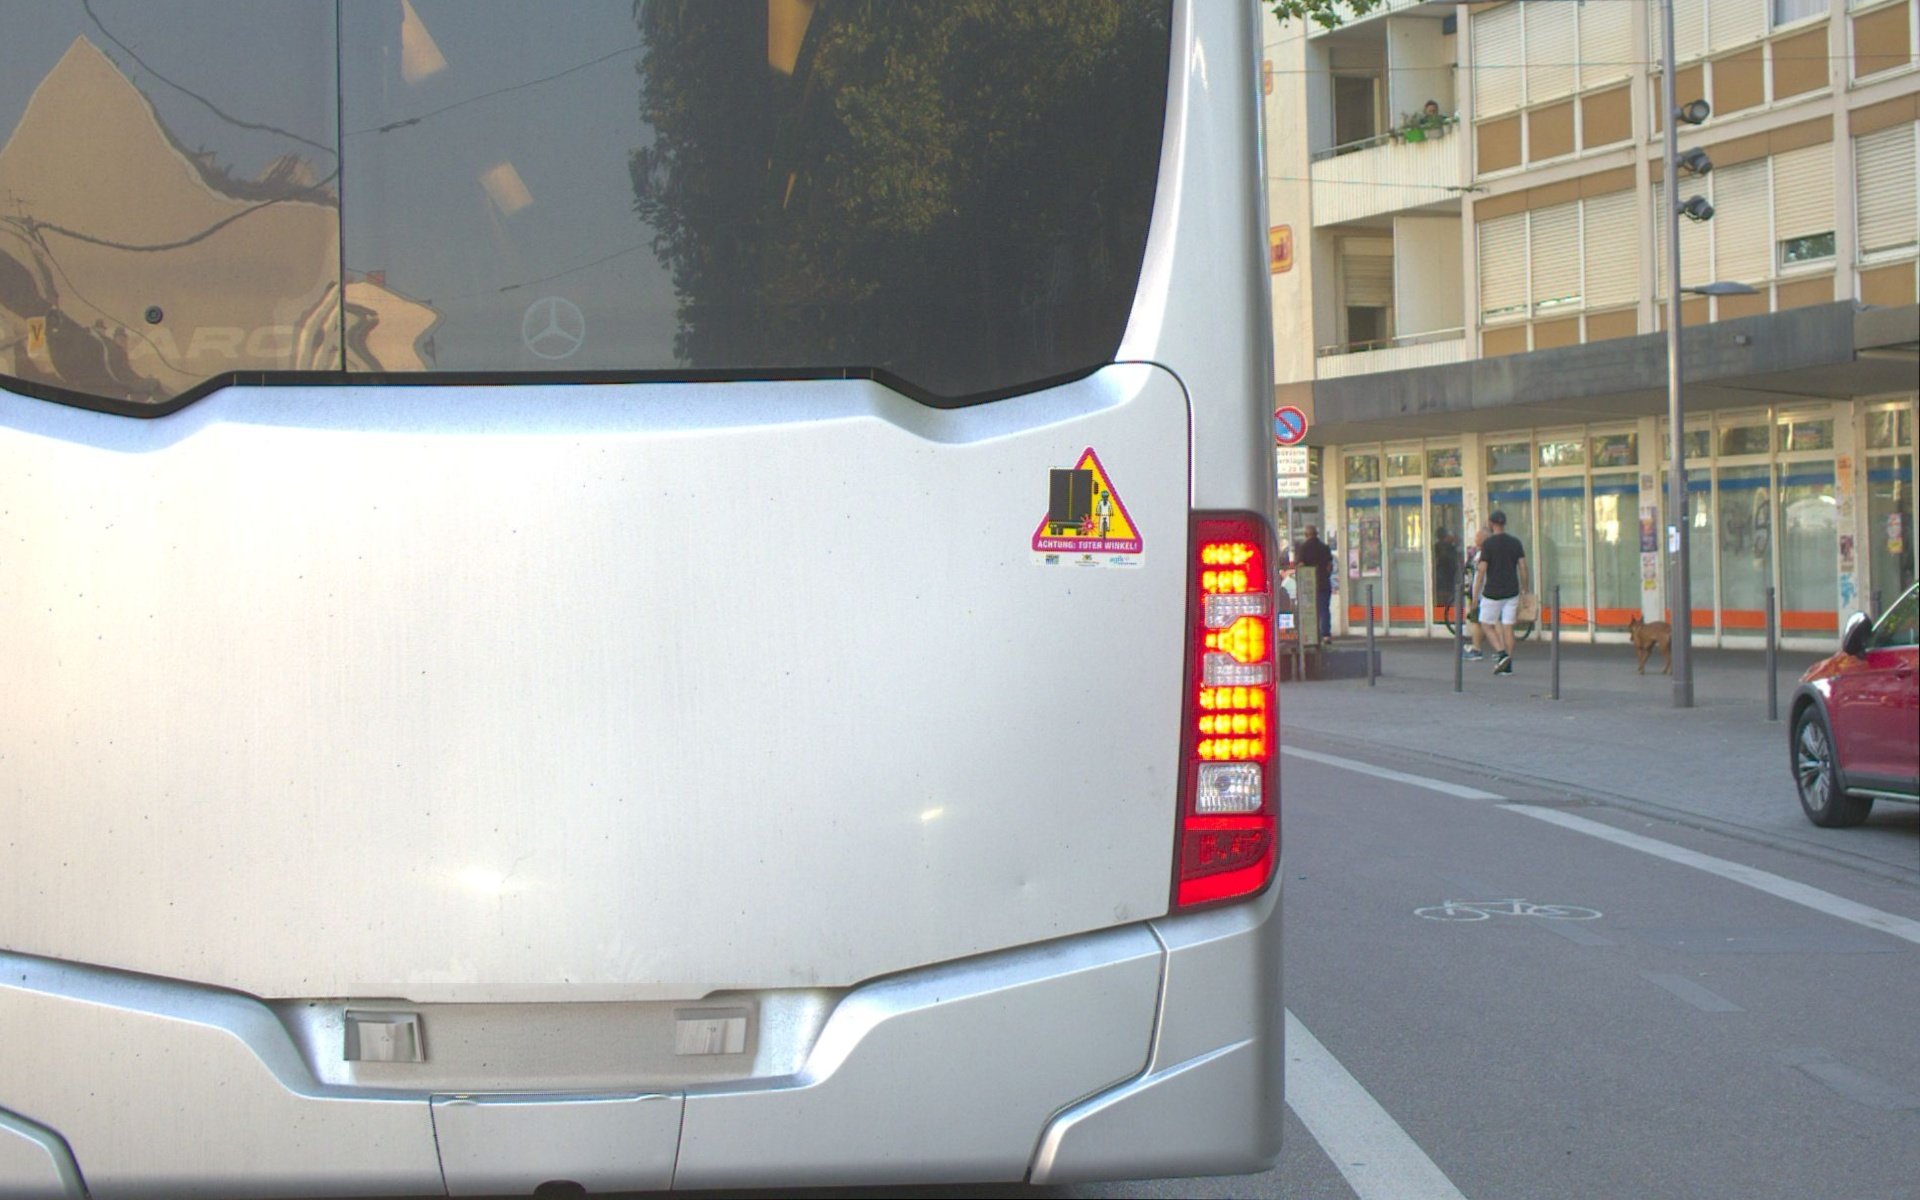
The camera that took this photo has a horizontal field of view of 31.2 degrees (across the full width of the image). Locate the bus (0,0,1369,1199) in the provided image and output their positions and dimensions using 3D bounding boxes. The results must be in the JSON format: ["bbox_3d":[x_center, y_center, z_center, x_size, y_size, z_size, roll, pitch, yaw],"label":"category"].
[{"bbox_3d":[-0.726,-0.162,10.576,2.630,3.017,9.998,0,1,-1],"label":"bus"}]

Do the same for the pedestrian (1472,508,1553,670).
[{"bbox_3d":[5.906,-0.119,36.734,0.645,1.711,0.560,-1,1,-16],"label":"pedestrian"}]

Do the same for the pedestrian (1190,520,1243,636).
[{"bbox_3d":[3.679,-0.321,49.374,0.535,1.643,0.616,-1,1,-17],"label":"pedestrian"}]

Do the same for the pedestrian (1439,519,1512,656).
[{"bbox_3d":[6.057,-0.149,40.398,0.645,1.576,0.560,-1,1,-16],"label":"pedestrian"}]

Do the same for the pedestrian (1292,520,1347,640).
[{"bbox_3d":[5.006,-0.278,47.867,0.535,1.643,0.616,-1,1,-17],"label":"pedestrian"}]

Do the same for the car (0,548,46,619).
[{"bbox_3d":[-25.263,-0.443,88.098,1.994,1.785,3.998,0,0,-41],"label":"car"}]

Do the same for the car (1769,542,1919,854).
[{"bbox_3d":[5.482,0.451,16.664,1.769,1.477,4.304,-2,1,-4],"label":"car"}]

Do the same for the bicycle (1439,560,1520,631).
[{"bbox_3d":[7.004,-0.063,46.392,0.412,0.941,1.441,-1,1,-21],"label":"bicycle"}]

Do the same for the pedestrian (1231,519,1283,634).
[{"bbox_3d":[4.318,-0.344,49.987,0.535,1.643,0.616,-1,1,-17],"label":"pedestrian"}]
